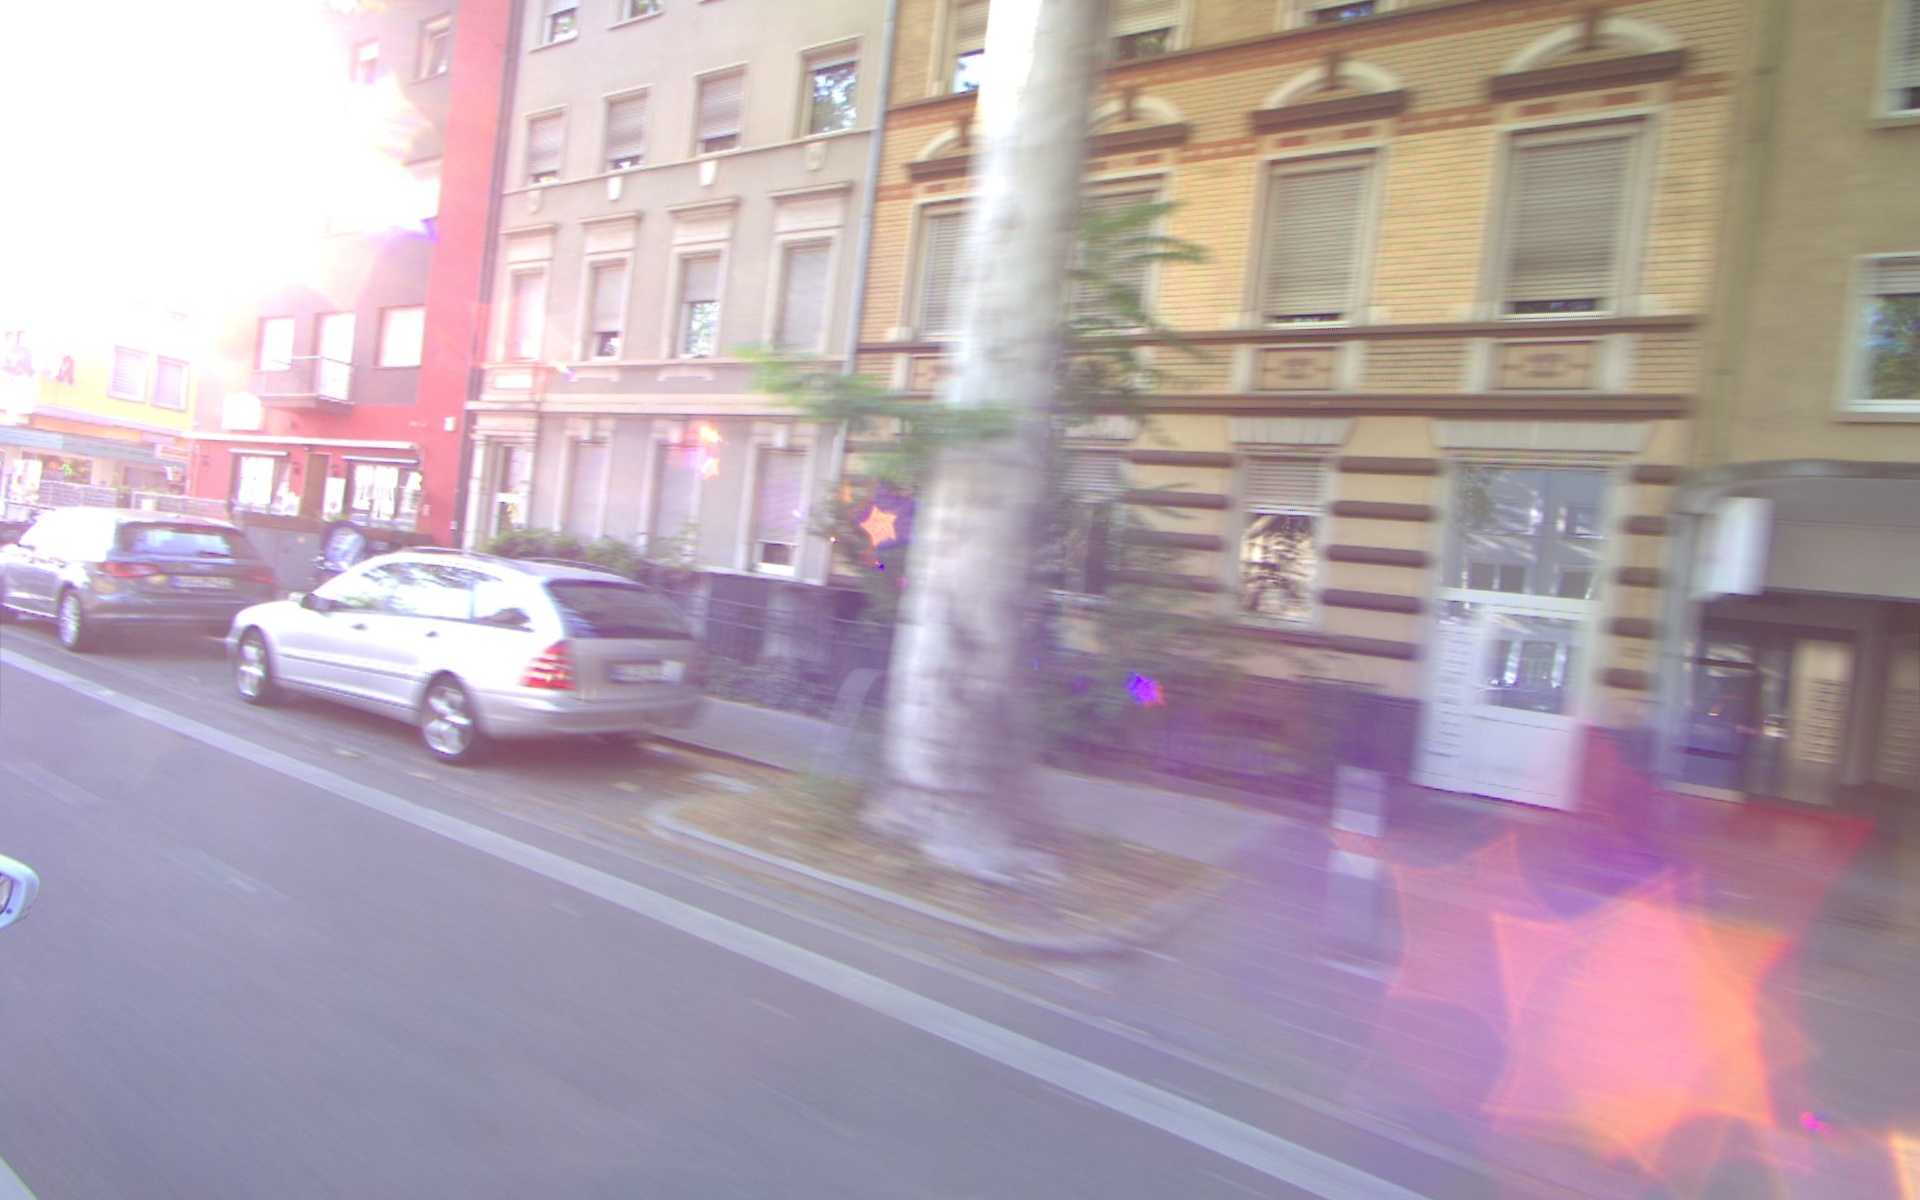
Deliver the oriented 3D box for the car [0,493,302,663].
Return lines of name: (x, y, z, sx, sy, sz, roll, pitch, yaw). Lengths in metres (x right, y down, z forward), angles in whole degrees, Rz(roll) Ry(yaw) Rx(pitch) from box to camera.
car: (-9.390, -0.306, 11.283, 4.251, 1.414, 1.712, 7, 0, 33)

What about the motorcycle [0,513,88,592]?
motorcycle: (-13.772, -0.694, 14.170, 0.752, 1.077, 2.212, 7, 2, 10)

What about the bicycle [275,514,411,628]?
bicycle: (-9.213, -0.449, 14.987, 2.357, 1.443, 0.608, 7, -2, 33)

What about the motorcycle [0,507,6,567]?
motorcycle: (-15.614, -0.936, 15.234, 0.591, 1.166, 1.995, 7, 0, -9)

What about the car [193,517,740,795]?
car: (-4.112, 0.317, 8.158, 4.493, 1.469, 1.676, 7, 0, 30)
